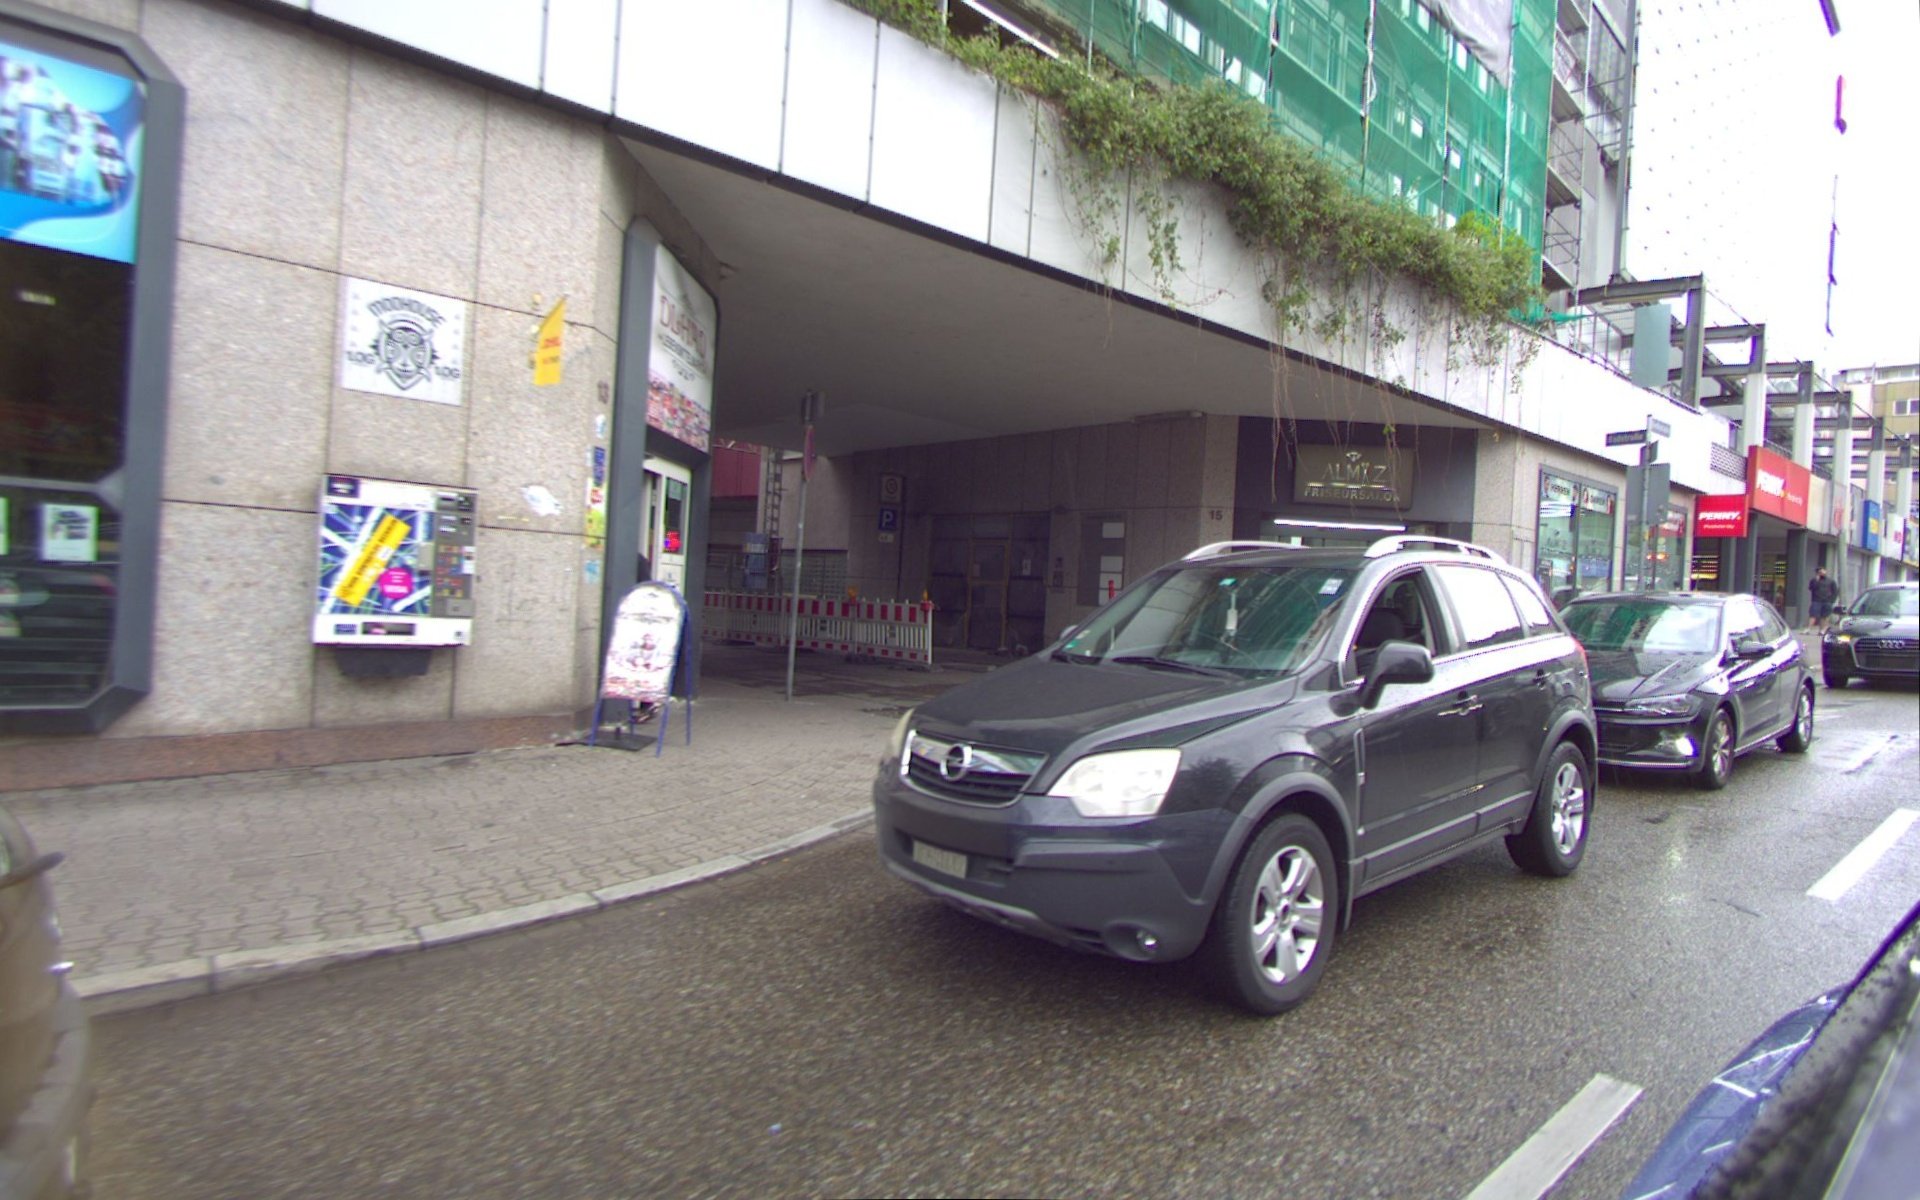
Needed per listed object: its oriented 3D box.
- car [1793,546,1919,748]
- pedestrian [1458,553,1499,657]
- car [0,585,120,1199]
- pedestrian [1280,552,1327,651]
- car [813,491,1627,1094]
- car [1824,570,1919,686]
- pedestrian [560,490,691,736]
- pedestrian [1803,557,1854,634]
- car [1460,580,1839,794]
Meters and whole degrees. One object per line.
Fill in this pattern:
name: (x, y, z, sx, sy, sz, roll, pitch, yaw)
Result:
car: (9.950, 0.391, 10.133, 3.931, 1.757, 1.831, -1, 4, -41)
pedestrian: (8.217, 0.064, 16.046, 0.457, 1.616, 0.403, -1, 3, -42)
car: (-3.044, 0.657, 0.822, 3.563, 1.459, 1.595, 3, 0, -41)
pedestrian: (5.376, 0.010, 15.835, 0.515, 1.506, 0.429, -1, 3, -38)
car: (1.532, 0.492, 4.876, 4.174, 1.699, 1.734, -1, 1, -41)
car: (14.755, 0.351, 15.326, 3.927, 1.604, 1.777, -1, 1, -38)
pedestrian: (-2.631, 0.083, 7.959, 0.649, 1.800, 0.584, 7, 4, 33)
pedestrian: (21.696, -0.129, 25.284, 0.630, 1.798, 0.708, -7, 11, -39)
car: (6.037, 0.555, 8.730, 3.708, 1.448, 1.682, -1, 1, -38)
